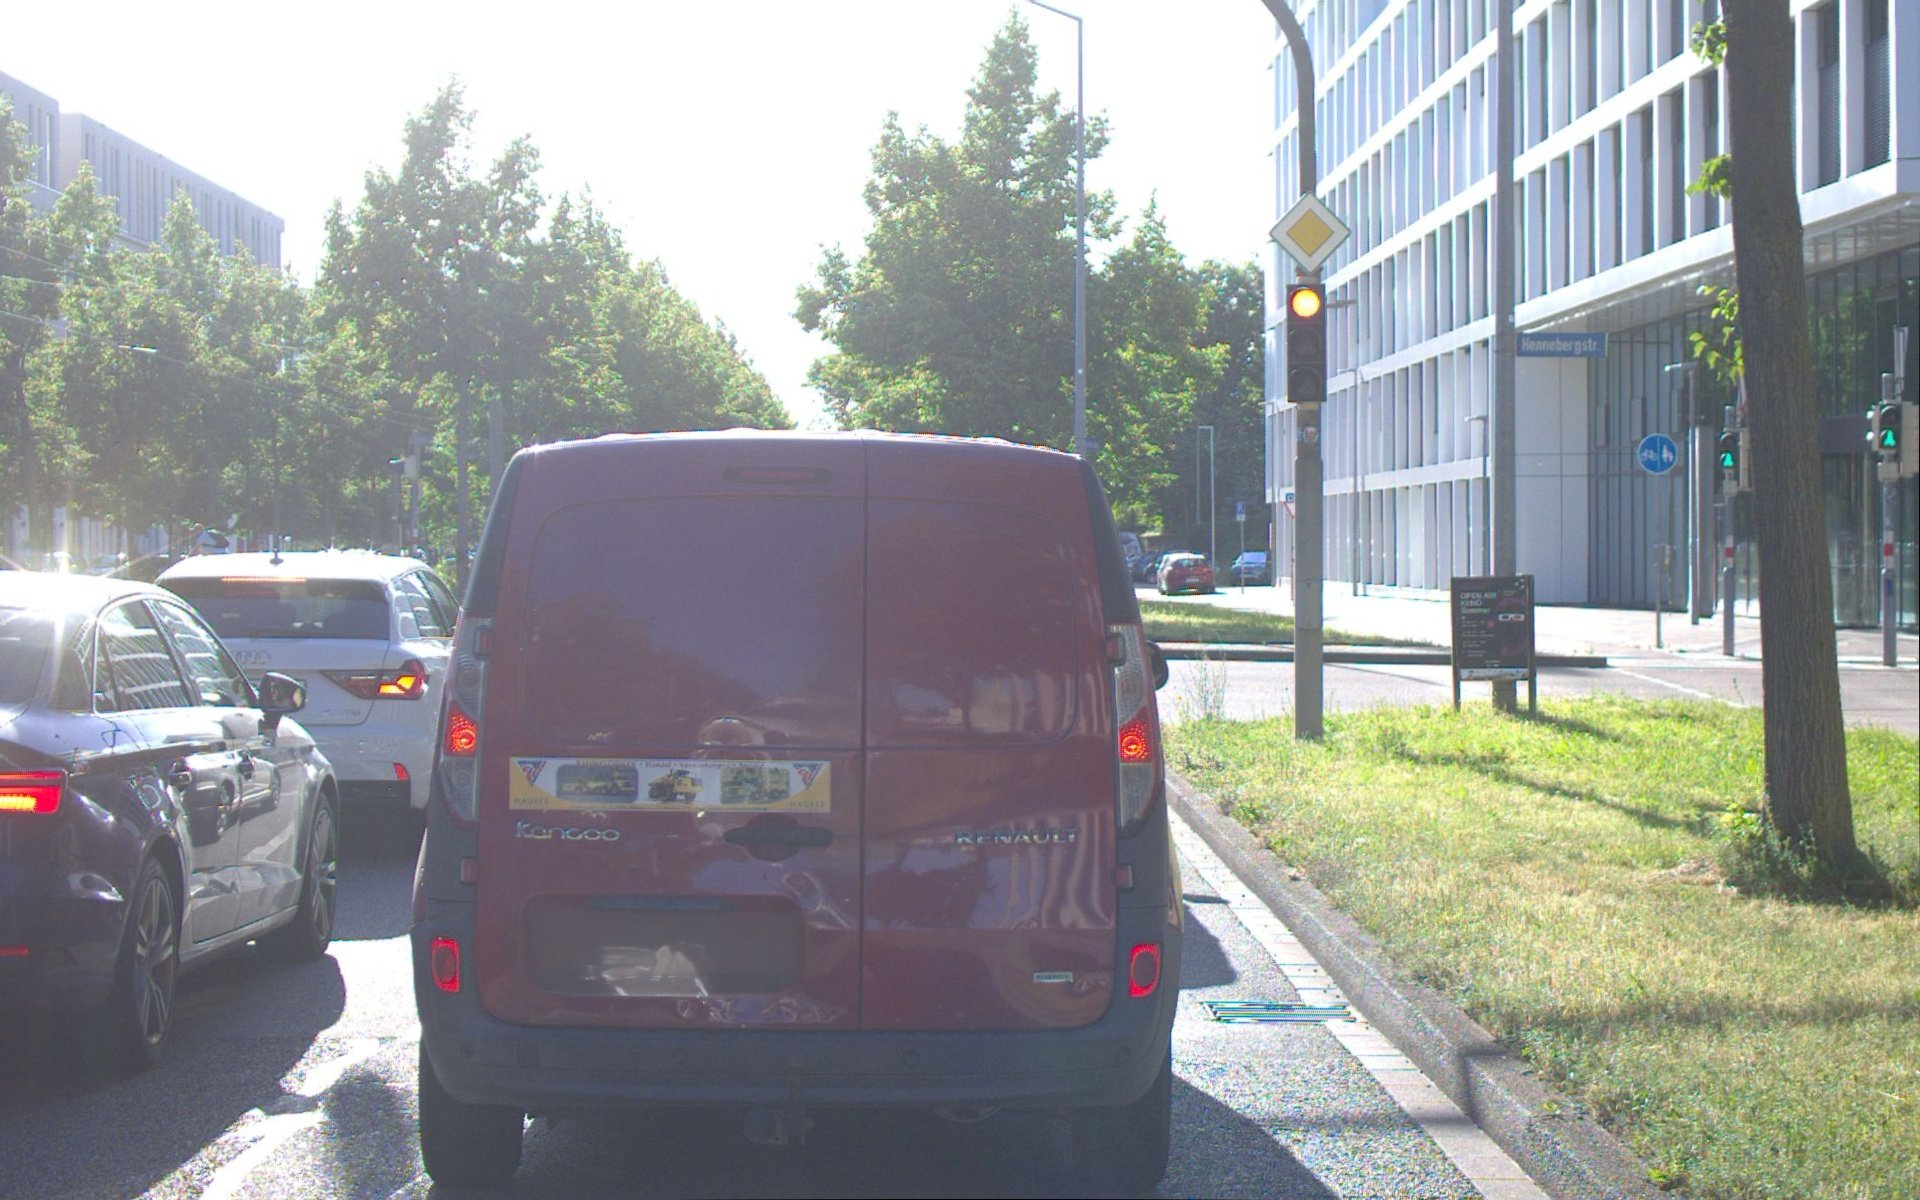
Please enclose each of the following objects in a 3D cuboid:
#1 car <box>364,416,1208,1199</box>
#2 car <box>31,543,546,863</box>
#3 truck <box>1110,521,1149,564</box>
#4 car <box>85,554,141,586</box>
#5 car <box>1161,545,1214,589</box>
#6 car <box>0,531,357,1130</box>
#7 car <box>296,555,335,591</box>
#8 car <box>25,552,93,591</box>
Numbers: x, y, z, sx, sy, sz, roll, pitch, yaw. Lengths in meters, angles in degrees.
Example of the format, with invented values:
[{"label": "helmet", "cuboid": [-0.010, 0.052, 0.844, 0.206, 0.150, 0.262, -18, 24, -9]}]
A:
[{"label": "car", "cuboid": [-0.369, 0.461, 9.431, 1.808, 1.788, 4.113, 0, 1, 0]}, {"label": "car", "cuboid": [-3.267, 0.429, 17.510, 1.808, 1.430, 4.113, 0, 1, 0]}, {"label": "truck", "cuboid": [9.773, -3.307, 198.821, 1.831, 2.492, 5.933, 0, 1, -1]}, {"label": "car", "cuboid": [-36.793, -1.309, 149.362, 1.580, 1.337, 3.712, 0, 1, -1]}, {"label": "car", "cuboid": [8.450, -1.240, 127.872, 1.758, 1.606, 3.903, 0, 1, 1]}, {"label": "car", "cuboid": [-3.162, 0.547, 10.791, 1.808, 1.522, 4.113, 0, 1, 0]}, {"label": "car", "cuboid": [-37.235, -1.560, 198.635, 1.728, 2.007, 4.001, 0, 1, -3]}, {"label": "car", "cuboid": [-35.810, -1.127, 136.765, 1.776, 1.523, 3.806, 0, 1, -1]}]
